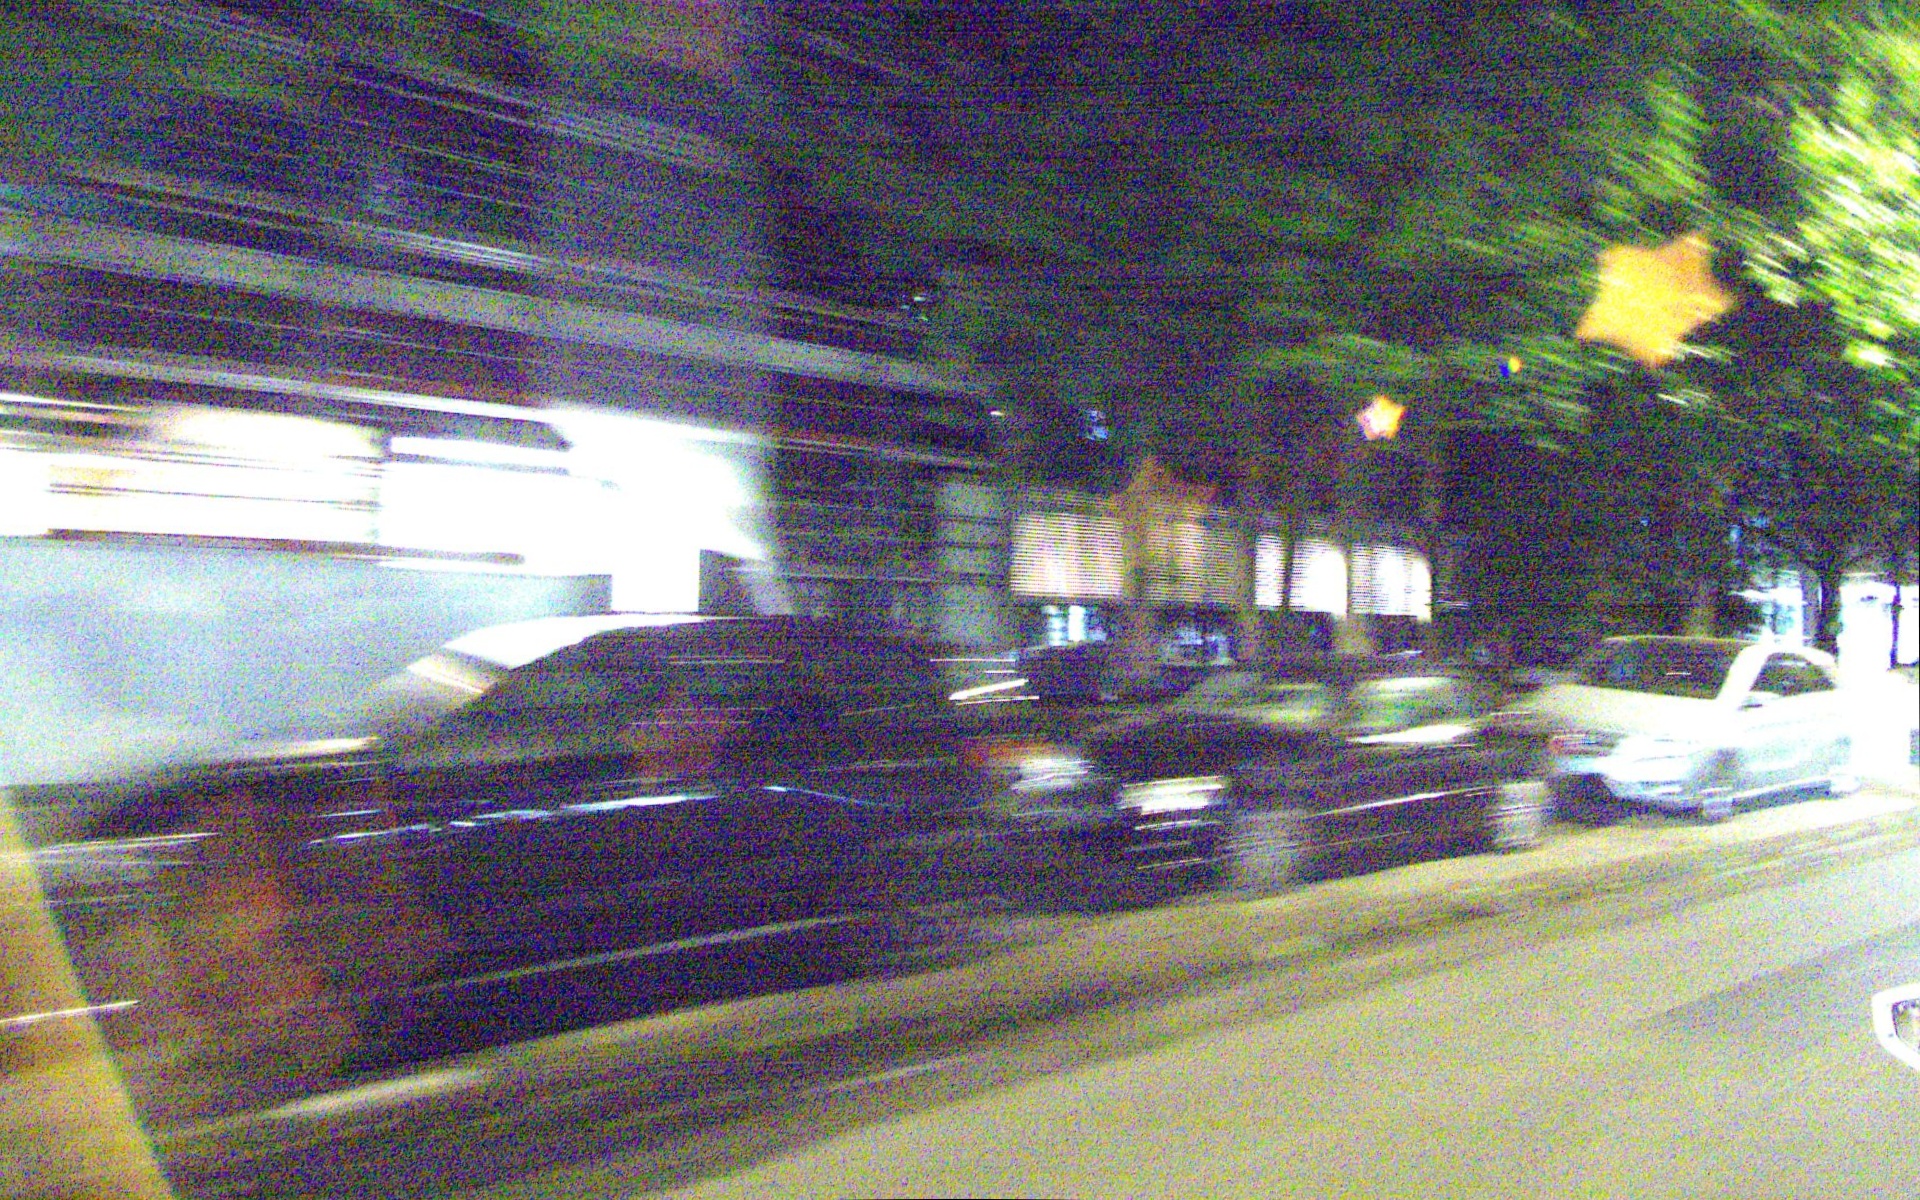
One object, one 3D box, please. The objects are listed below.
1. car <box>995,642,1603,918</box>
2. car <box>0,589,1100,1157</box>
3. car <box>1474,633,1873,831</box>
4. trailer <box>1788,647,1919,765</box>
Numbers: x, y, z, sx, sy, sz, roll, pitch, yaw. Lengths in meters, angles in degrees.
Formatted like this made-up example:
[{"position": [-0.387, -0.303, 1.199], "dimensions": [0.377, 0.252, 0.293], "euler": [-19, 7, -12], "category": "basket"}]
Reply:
[{"position": [2.650, 1.085, 7.450], "dimensions": [4.580, 1.430, 1.696], "euler": [2, 0, -31], "category": "car"}, {"position": [-1.552, 0.844, 4.733], "dimensions": [4.251, 1.628, 1.732], "euler": [2, 1, -32], "category": "car"}, {"position": [7.184, 1.151, 10.027], "dimensions": [4.157, 1.522, 1.707], "euler": [1, 1, -31], "category": "car"}, {"position": [14.008, 1.411, 13.908], "dimensions": [5.369, 1.352, 2.101], "euler": [2, 1, -29], "category": "trailer"}]
